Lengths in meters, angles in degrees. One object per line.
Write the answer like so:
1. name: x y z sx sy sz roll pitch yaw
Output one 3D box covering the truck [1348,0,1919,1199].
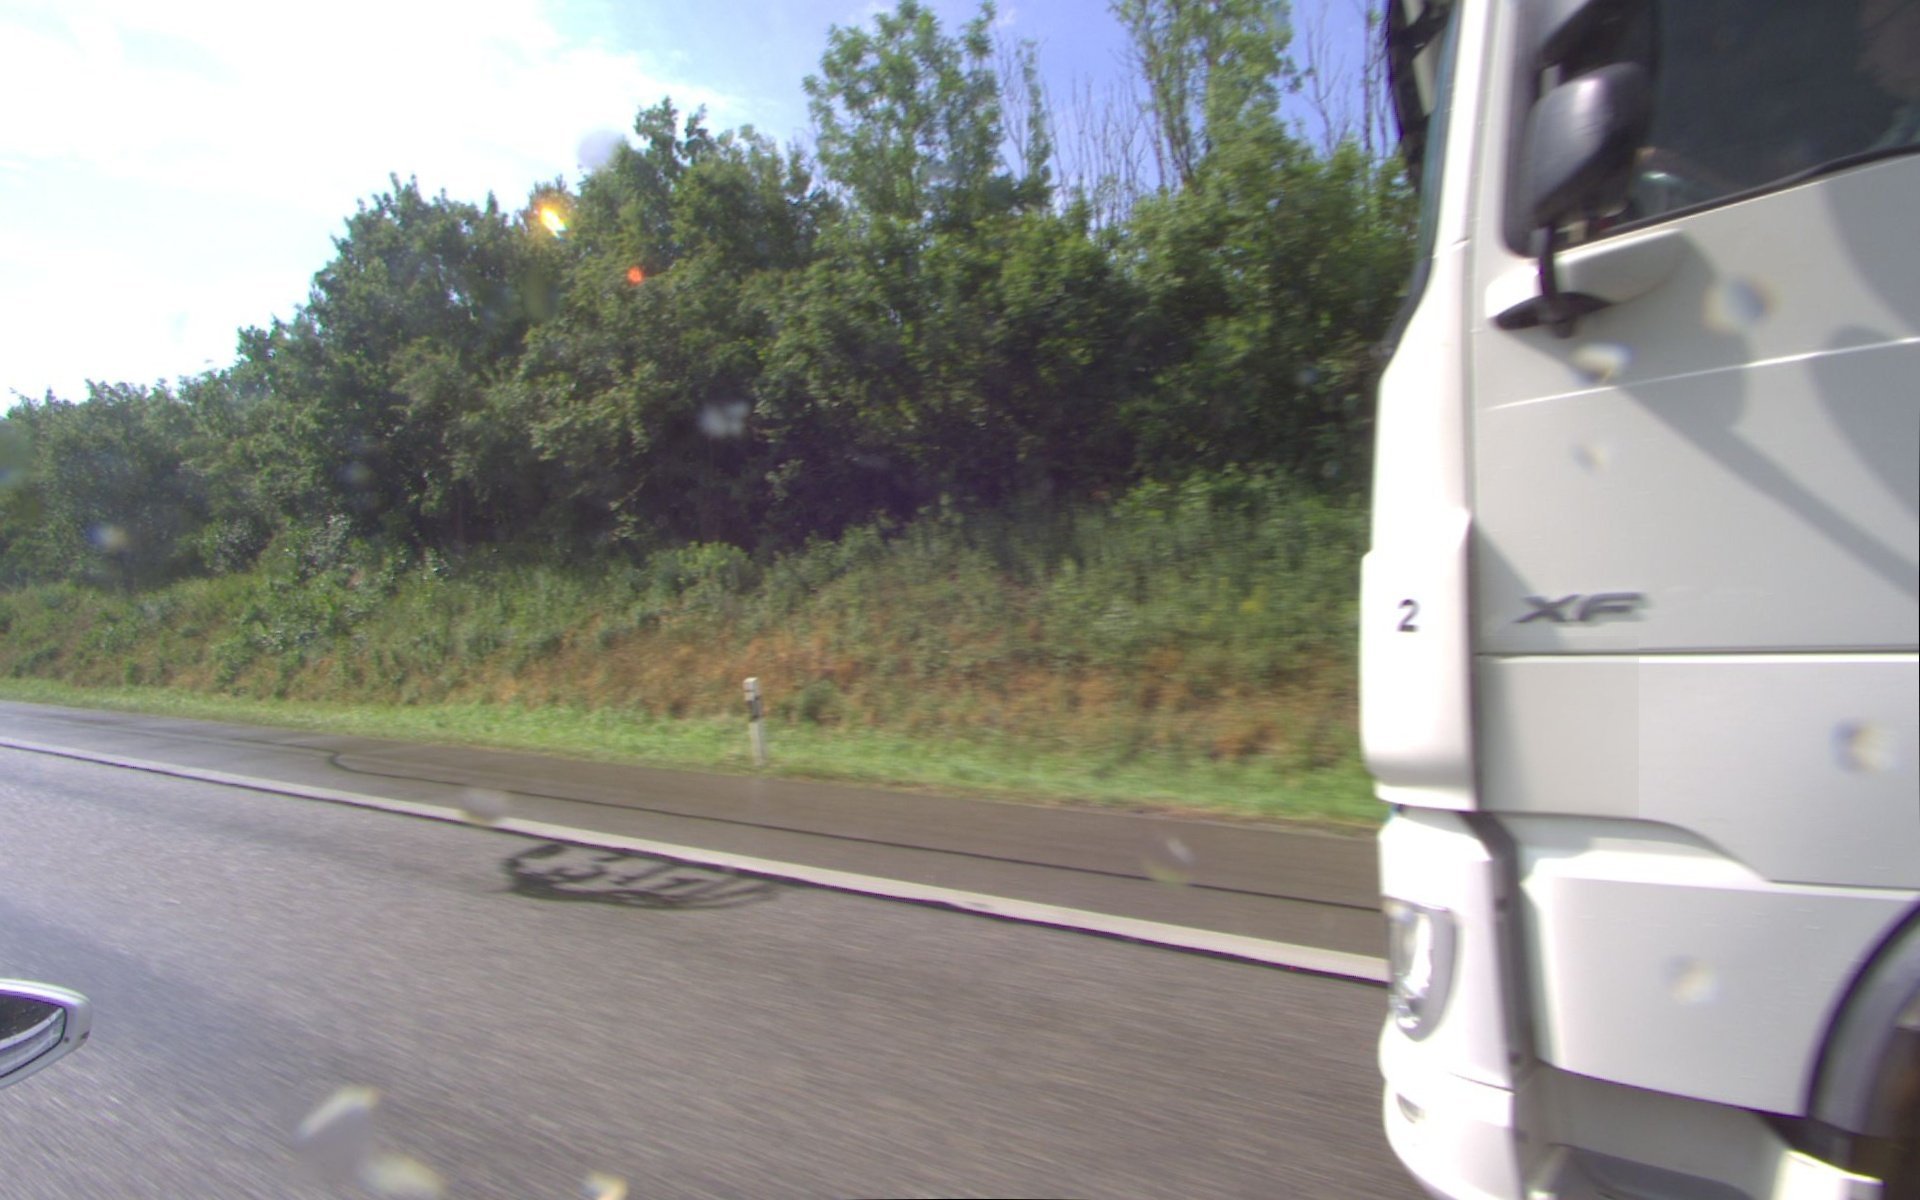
1. truck: 4.474 -0.544 1.146 7.186 4.047 2.602 -1 -2 32
